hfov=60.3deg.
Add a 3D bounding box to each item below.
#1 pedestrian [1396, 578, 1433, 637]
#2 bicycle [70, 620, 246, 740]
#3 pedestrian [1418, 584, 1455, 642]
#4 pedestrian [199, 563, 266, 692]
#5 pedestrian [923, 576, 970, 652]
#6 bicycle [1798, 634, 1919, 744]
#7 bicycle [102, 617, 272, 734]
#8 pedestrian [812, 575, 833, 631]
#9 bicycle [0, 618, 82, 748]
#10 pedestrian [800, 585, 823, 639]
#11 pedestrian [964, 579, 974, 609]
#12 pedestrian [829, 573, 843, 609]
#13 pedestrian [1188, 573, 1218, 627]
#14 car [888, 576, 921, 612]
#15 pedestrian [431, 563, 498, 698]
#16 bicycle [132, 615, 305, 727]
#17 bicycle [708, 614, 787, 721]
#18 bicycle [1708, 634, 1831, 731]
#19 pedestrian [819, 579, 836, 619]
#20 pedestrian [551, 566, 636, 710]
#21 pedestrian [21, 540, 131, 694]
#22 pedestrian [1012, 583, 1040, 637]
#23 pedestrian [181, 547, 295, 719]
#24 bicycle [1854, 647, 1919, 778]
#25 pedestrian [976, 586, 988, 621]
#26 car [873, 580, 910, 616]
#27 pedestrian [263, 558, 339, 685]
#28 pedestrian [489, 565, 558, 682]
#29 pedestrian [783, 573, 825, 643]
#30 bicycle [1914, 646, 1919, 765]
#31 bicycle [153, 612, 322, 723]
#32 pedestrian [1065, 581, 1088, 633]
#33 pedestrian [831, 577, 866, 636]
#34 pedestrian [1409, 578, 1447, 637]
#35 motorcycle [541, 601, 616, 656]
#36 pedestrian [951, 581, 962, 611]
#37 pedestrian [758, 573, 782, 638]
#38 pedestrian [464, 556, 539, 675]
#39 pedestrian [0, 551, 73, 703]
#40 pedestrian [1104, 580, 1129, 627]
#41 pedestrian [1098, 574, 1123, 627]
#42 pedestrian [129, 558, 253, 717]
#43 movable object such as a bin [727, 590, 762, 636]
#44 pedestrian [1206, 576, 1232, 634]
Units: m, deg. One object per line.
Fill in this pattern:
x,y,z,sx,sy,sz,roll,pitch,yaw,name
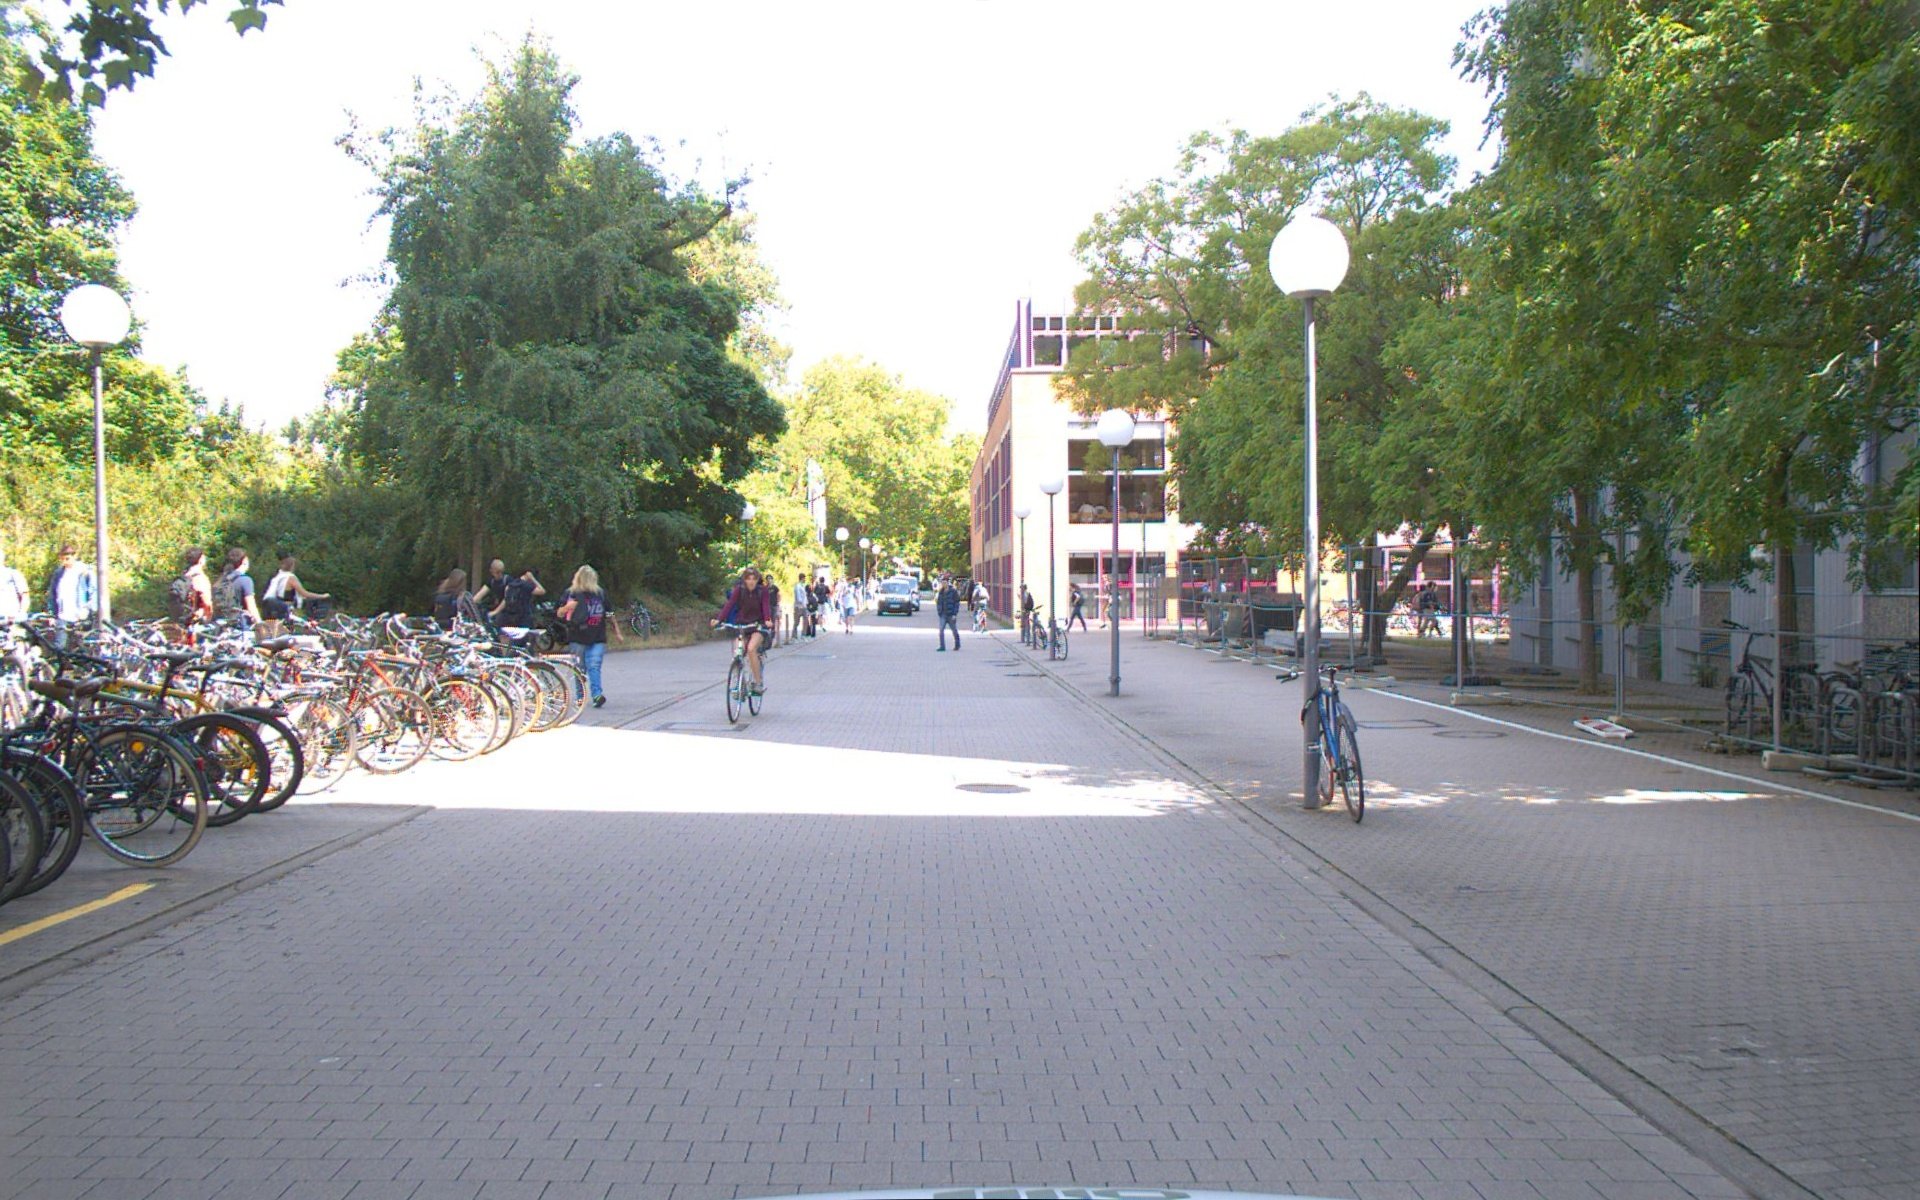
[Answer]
13.757,0.231,50.076,0.884,1.758,0.684,0,-2,-6,pedestrian
-7.734,0.754,15.952,1.658,1.102,0.474,0,0,18,bicycle
14.825,0.407,51.423,0.884,1.758,0.684,0,-2,-6,pedestrian
-10.091,0.366,22.945,0.679,1.754,0.721,-1,1,-38,pedestrian
-0.340,0.357,42.105,0.867,1.890,1.033,1,0,18,pedestrian
8.470,0.802,15.286,0.285,0.921,1.801,-1,1,-9,bicycle
-7.690,0.735,16.447,1.658,1.102,0.474,0,0,18,bicycle
-4.696,0.104,56.443,0.668,1.876,0.783,0,-1,-1,pedestrian
-8.636,0.732,15.152,1.668,1.102,0.471,1,0,40,bicycle
-4.544,0.358,50.556,0.559,1.639,0.915,1,-1,-13,pedestrian
0.534,-0.357,96.826,0.574,1.702,0.817,-1,-1,0,pedestrian
-6.578,-0.459,87.831,0.668,1.876,0.783,0,-1,-1,pedestrian
8.057,0.009,54.872,0.883,1.758,0.685,-1,-2,17,pedestrian
-3.230,-0.381,96.960,1.845,2.008,5.214,0,1,-1,car
-6.585,0.397,21.997,0.670,1.754,0.731,1,0,-3,pedestrian
-7.635,0.721,17.036,1.682,1.102,0.474,0,0,13,bicycle
-2.433,0.749,19.154,0.756,1.170,2.106,1,-1,-4,bicycle
8.500,0.849,17.424,0.285,0.921,1.615,-1,1,-9,bicycle
-5.424,-0.032,67.871,0.669,1.649,0.913,0,-1,-6,pedestrian
-4.496,0.442,20.284,0.760,1.709,0.898,-1,1,-31,pedestrian
-10.841,0.196,20.309,0.814,1.847,0.883,0,0,9,pedestrian
2.078,0.312,51.874,0.834,1.680,0.588,0,-1,6,pedestrian
-8.111,0.347,18.607,0.672,1.867,0.939,0,1,33,pedestrian
7.145,0.839,12.132,0.285,0.921,1.447,-1,1,-5,bicycle
1.089,0.165,82.618,0.574,1.702,0.699,-1,-1,0,pedestrian
-3.446,-0.127,83.766,1.754,1.792,4.480,-1,1,-1,car
-9.362,0.292,23.525,0.920,1.754,0.674,-1,1,-17,pedestrian
-6.724,0.351,25.505,0.669,1.754,0.905,1,0,12,pedestrian
-4.256,0.215,45.082,0.773,1.877,1.109,1,0,-25,pedestrian
7.667,0.830,12.241,0.285,0.921,1.447,-1,1,-5,bicycle
-7.667,0.702,17.555,1.658,1.129,0.474,0,0,11,bicycle
3.856,0.220,54.777,0.682,1.702,0.588,-1,-1,6,pedestrian
-3.643,0.212,54.243,0.709,1.914,1.082,0,-1,23,pedestrian
13.923,0.228,49.248,0.884,1.758,0.684,0,-2,-6,pedestrian
-8.046,0.593,34.804,1.990,1.065,0.471,2,1,42,motorcycle
-0.187,-0.234,95.799,0.574,1.702,0.817,-1,-1,0,pedestrian
-5.622,0.170,49.034,0.669,1.905,1.119,0,-1,-6,pedestrian
-7.354,0.245,26.561,0.601,1.867,1.047,0,0,31,pedestrian
-11.647,0.315,20.447,0.751,1.835,0.985,0,0,9,pedestrian
5.486,0.119,57.953,0.765,1.649,0.684,0,-1,-4,pedestrian
5.332,0.013,58.659,0.809,1.876,0.684,0,-1,-4,pedestrian
-8.824,0.406,18.991,0.703,1.754,1.062,0,1,31,pedestrian
-6.502,0.389,49.939,0.694,1.359,1.240,2,0,9,movable object such as a bin
8.377,0.163,53.460,0.750,1.826,0.588,-1,-1,6,pedestrian
